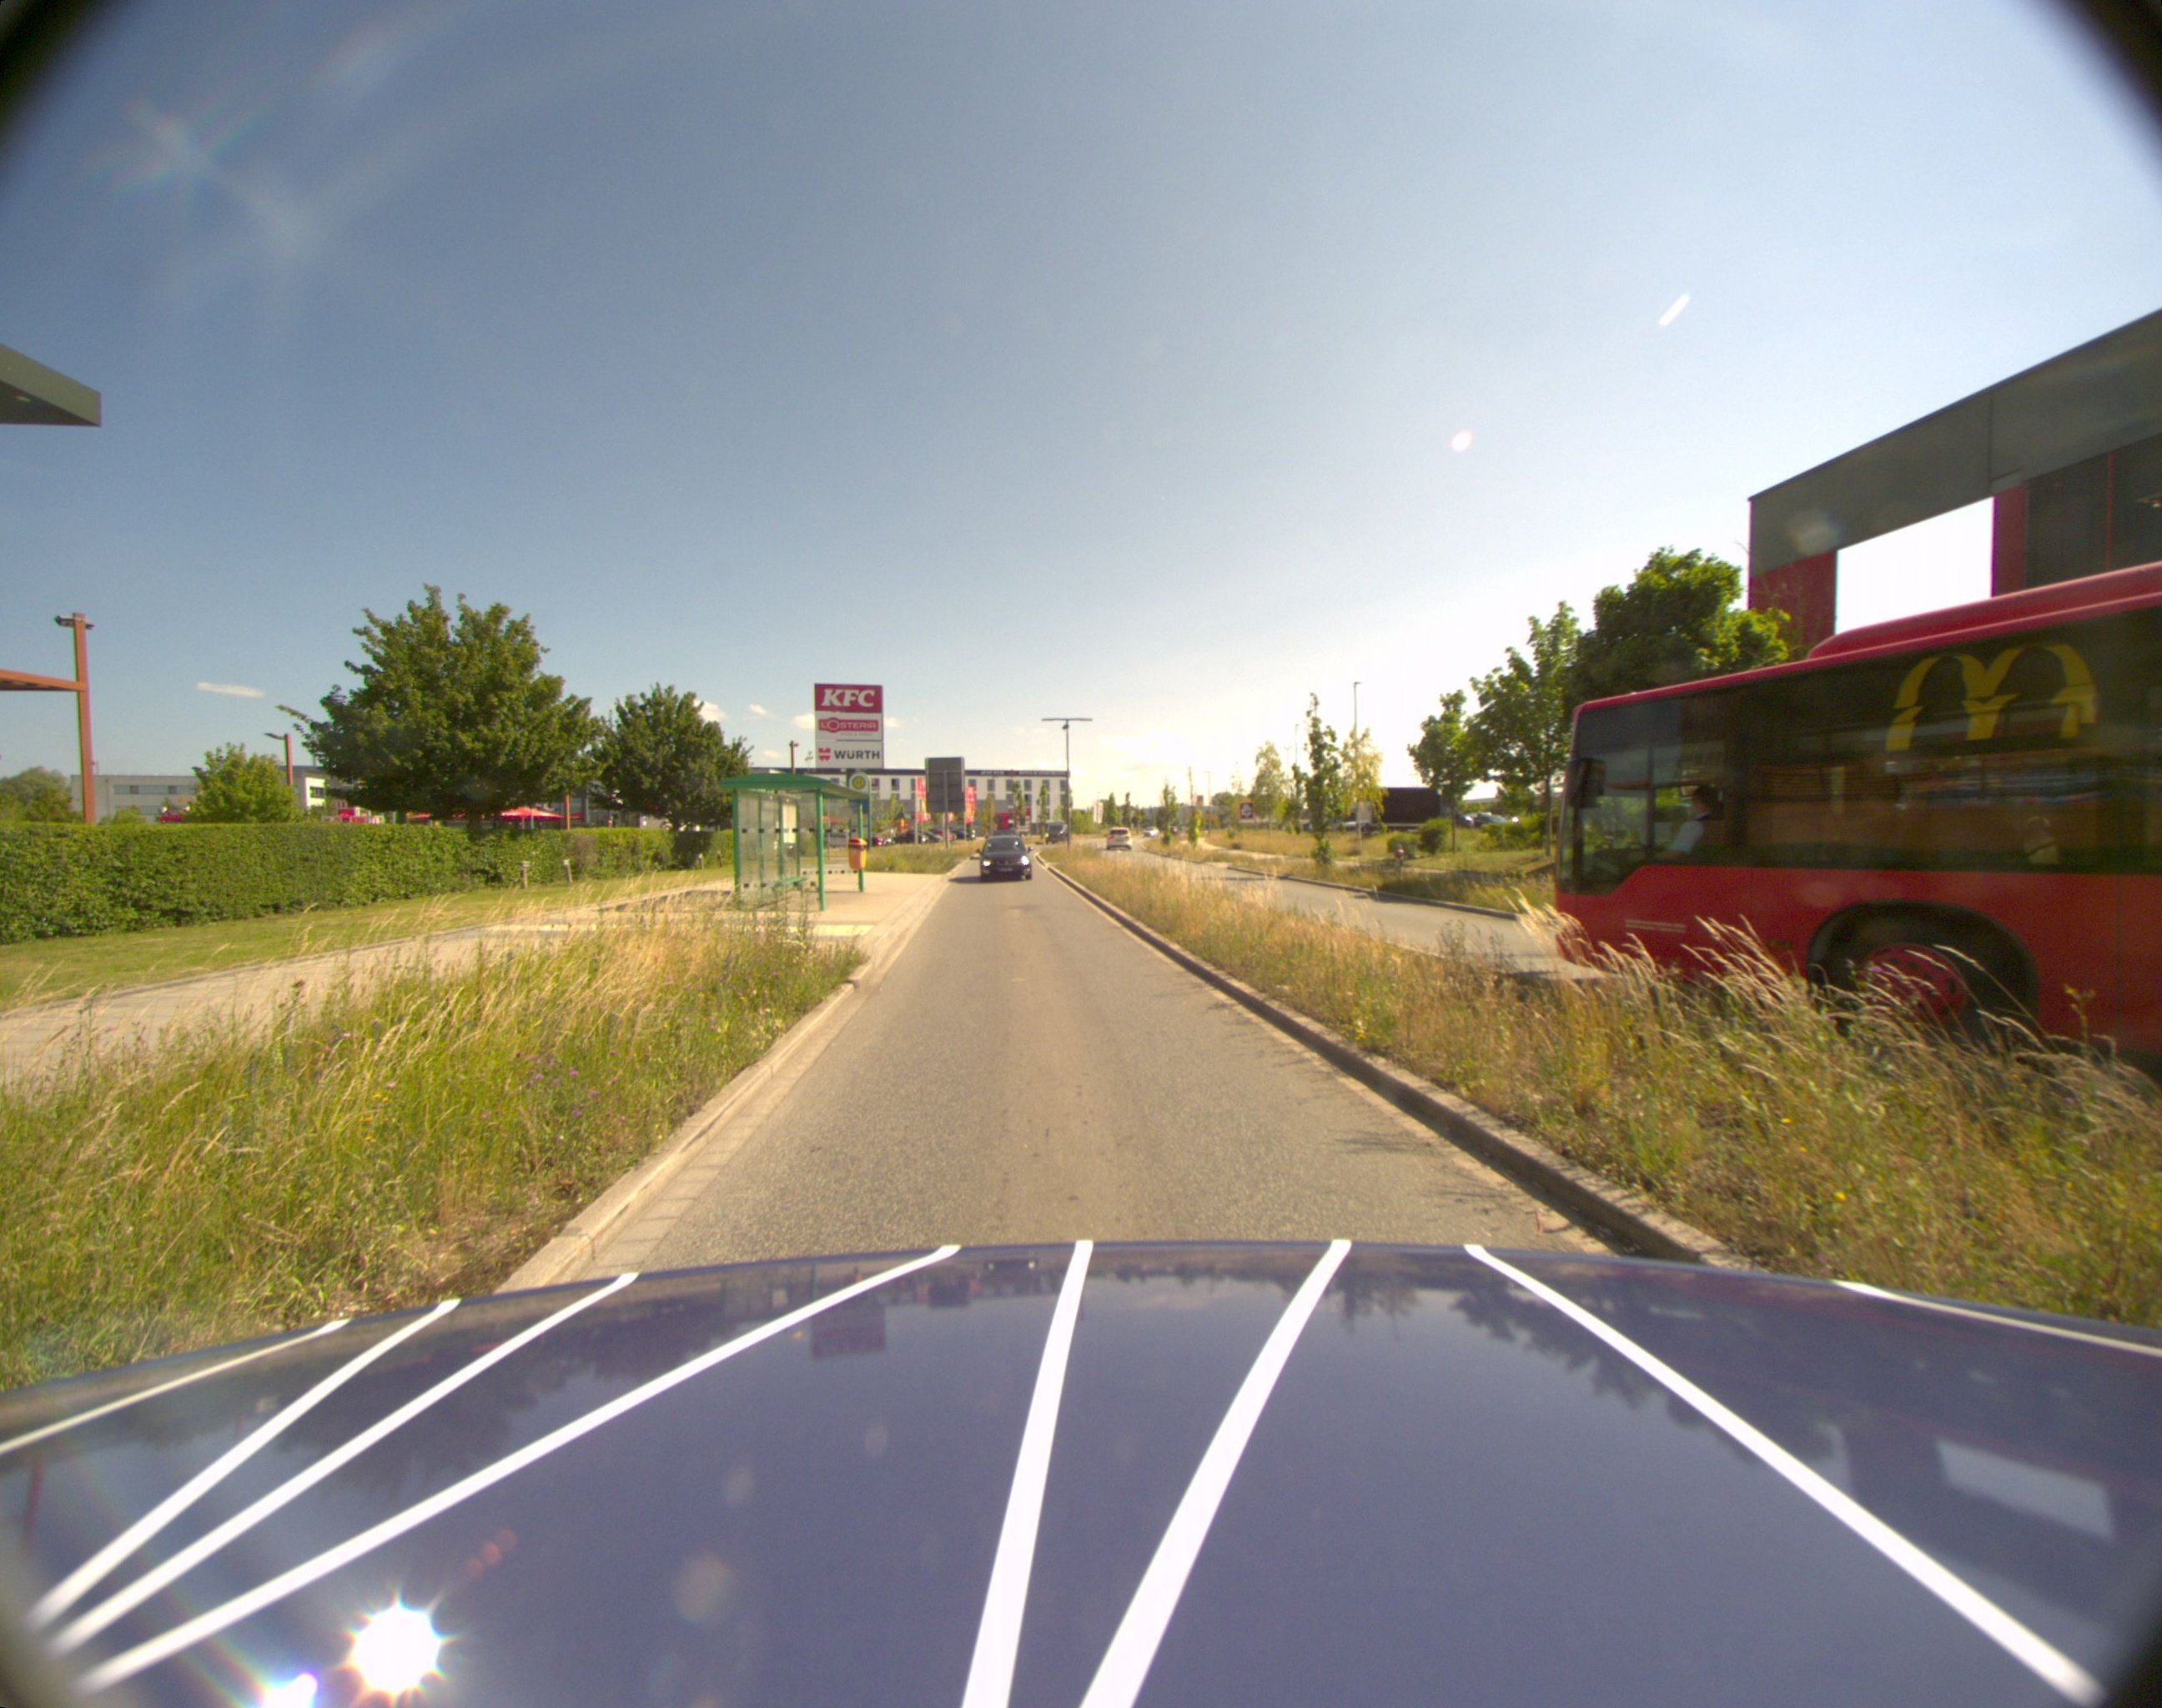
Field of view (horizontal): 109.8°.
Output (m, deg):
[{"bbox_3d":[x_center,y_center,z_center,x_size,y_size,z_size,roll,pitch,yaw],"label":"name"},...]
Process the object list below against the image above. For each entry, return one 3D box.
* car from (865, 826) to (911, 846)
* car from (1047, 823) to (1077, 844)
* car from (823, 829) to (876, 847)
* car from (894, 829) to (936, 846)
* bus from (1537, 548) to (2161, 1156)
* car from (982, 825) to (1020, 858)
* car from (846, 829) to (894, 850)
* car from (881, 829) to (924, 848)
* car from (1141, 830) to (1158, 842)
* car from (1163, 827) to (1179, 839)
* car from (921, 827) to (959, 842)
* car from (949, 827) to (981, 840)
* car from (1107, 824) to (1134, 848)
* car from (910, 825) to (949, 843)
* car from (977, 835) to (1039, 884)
[{"bbox_3d":[-20.215,-1.923,79.497,4.181,2.002,1.934,0,2,8],"label":"car"},{"bbox_3d":[-1.936,-2.078,77.651,2.077,2.037,4.685,0,2,11],"label":"car"},{"bbox_3d":[-21.824,-1.480,71.739,4.440,1.643,1.933,-1,2,1],"label":"car"},{"bbox_3d":[-18.695,-1.864,85.608,4.180,1.847,1.804,0,2,12],"label":"car"},{"bbox_3d":[7.742,-0.008,2.324,2.620,3.222,11.860,0,0,-20],"label":"bus"},{"bbox_3d":[-4.536,-0.763,43.578,1.862,1.679,3.997,-3,2,-3],"label":"car"},{"bbox_3d":[-21.173,-1.453,76.440,4.181,2.002,1.934,0,2,9],"label":"car"},{"bbox_3d":[-19.492,-1.716,83.083,4.181,2.002,1.934,0,2,8],"label":"car"},{"bbox_3d":[9.825,-2.574,108.556,1.997,1.674,4.002,0,2,10],"label":"car"},{"bbox_3d":[12.463,-2.903,105.336,1.998,1.609,4.000,-1,2,3],"label":"car"},{"bbox_3d":[-17.381,-2.440,93.558,4.180,1.752,1.825,0,2,11],"label":"car"},{"bbox_3d":[-15.271,-2.707,100.205,3.820,1.610,1.757,0,2,8],"label":"car"},{"bbox_3d":[2.914,-1.341,56.918,1.861,1.705,4.155,0,2,1],"label":"car"},{"bbox_3d":[-18.093,-2.403,90.689,4.182,2.002,1.933,0,2,6],"label":"car"},{"bbox_3d":[-2.413,0.109,25.871,1.862,1.460,3.997,-2,2,-3],"label":"car"}]
